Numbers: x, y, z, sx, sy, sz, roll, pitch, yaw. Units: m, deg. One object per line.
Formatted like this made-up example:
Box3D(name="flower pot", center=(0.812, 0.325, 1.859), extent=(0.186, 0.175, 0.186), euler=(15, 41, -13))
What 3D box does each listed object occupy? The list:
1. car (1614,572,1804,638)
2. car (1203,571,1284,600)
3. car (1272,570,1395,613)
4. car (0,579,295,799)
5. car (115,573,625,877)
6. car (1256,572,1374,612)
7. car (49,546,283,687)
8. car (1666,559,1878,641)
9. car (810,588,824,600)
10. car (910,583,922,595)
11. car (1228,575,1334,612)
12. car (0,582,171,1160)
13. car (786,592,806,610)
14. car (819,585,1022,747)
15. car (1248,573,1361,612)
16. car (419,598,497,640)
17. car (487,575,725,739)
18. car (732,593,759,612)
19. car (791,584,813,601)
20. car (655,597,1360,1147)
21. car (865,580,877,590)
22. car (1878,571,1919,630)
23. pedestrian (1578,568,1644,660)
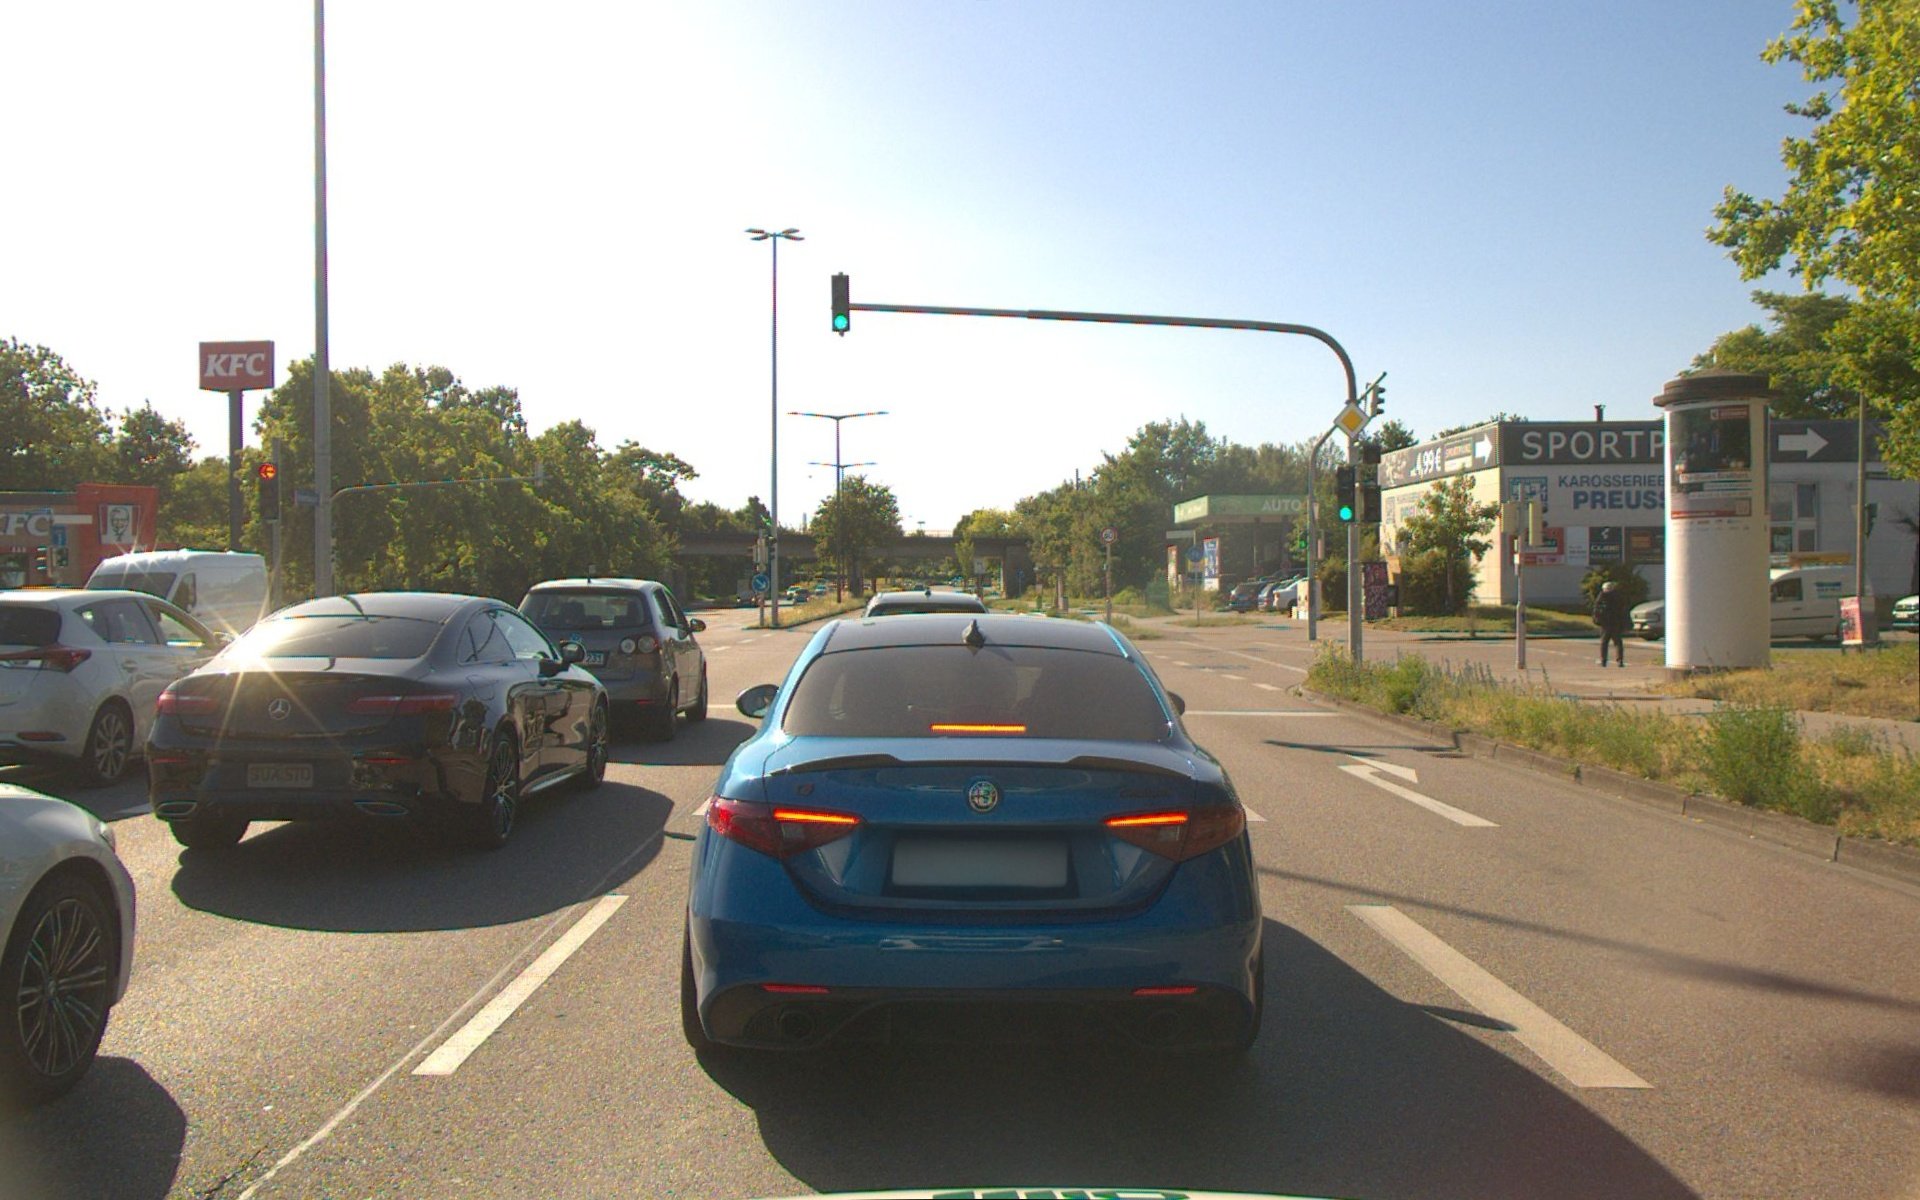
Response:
Box3D(name="car", center=(19.594, 0.109, 43.385), extent=(4.201, 1.576, 1.764), euler=(-1, 2, -2))
Box3D(name="car", center=(16.719, -0.856, 97.591), extent=(4.457, 1.516, 1.765), euler=(-2, 0, 1))
Box3D(name="car", center=(14.605, -0.325, 64.803), extent=(4.397, 1.479, 1.858), euler=(-2, 0, 1))
Box3D(name="car", center=(-7.111, 0.614, 13.538), extent=(1.723, 1.516, 4.195), euler=(1, 0, -2))
Box3D(name="car", center=(-3.431, 0.643, 10.605), extent=(1.760, 1.516, 4.474), euler=(1, 0, -2))
Box3D(name="car", center=(14.482, -0.324, 67.581), extent=(4.397, 1.479, 1.858), euler=(-2, 0, 1))
Box3D(name="car", center=(-15.947, 0.304, 33.646), extent=(1.982, 2.489, 5.819), euler=(-3, 0, -2))
Box3D(name="car", center=(19.623, -0.026, 40.049), extent=(4.293, 1.833, 1.764), euler=(-1, 2, -2))
Box3D(name="car", center=(-19.433, -0.758, 224.617), extent=(1.583, 1.586, 3.357), euler=(1, 0, -1))
Box3D(name="car", center=(-6.779, -1.674, 254.755), extent=(1.853, 1.847, 3.999), euler=(1, 0, -1))
Box3D(name="car", center=(14.397, -0.294, 74.383), extent=(4.397, 1.479, 1.858), euler=(-2, 0, 1))
Box3D(name="car", center=(-3.344, 0.693, 3.056), extent=(1.749, 1.516, 4.401), euler=(1, 0, -2))
Box3D(name="car", center=(-18.428, 0.134, 185.976), extent=(1.953, 2.049, 3.999), euler=(1, 0, -1))
Box3D(name="car", center=(-0.424, 0.607, 17.158), extent=(1.813, 1.443, 4.401), euler=(1, 0, -2))
Box3D(name="car", center=(14.626, -0.302, 70.336), extent=(4.397, 1.479, 1.858), euler=(-2, 0, 1))
Box3D(name="car", center=(-19.986, 0.735, 66.044), extent=(1.723, 1.516, 4.477), euler=(-3, 0, -1))
Box3D(name="car", center=(-3.644, 0.546, 17.777), extent=(1.723, 1.516, 4.401), euler=(1, 0, -2))
Box3D(name="car", center=(-18.521, 0.213, 143.102), extent=(1.723, 1.516, 4.477), euler=(-2, 0, -1))
Box3D(name="car", center=(-15.294, -0.727, 160.159), extent=(1.723, 1.516, 3.836), euler=(-2, 0, -1))
Box3D(name="car", center=(0.067, 0.739, 6.602), extent=(1.857, 1.443, 4.401), euler=(1, 0, -2))
Box3D(name="car", center=(-13.846, -2.288, 257.940), extent=(1.723, 1.516, 4.477), euler=(-2, 0, -1))
Box3D(name="car", center=(26.729, -0.059, 43.702), extent=(3.960, 1.516, 1.782), euler=(-2, 0, -3))
Box3D(name="pedestrian", center=(12.703, 0.269, 32.300), extent=(0.906, 1.765, 0.938), euler=(1, -1, -1))
